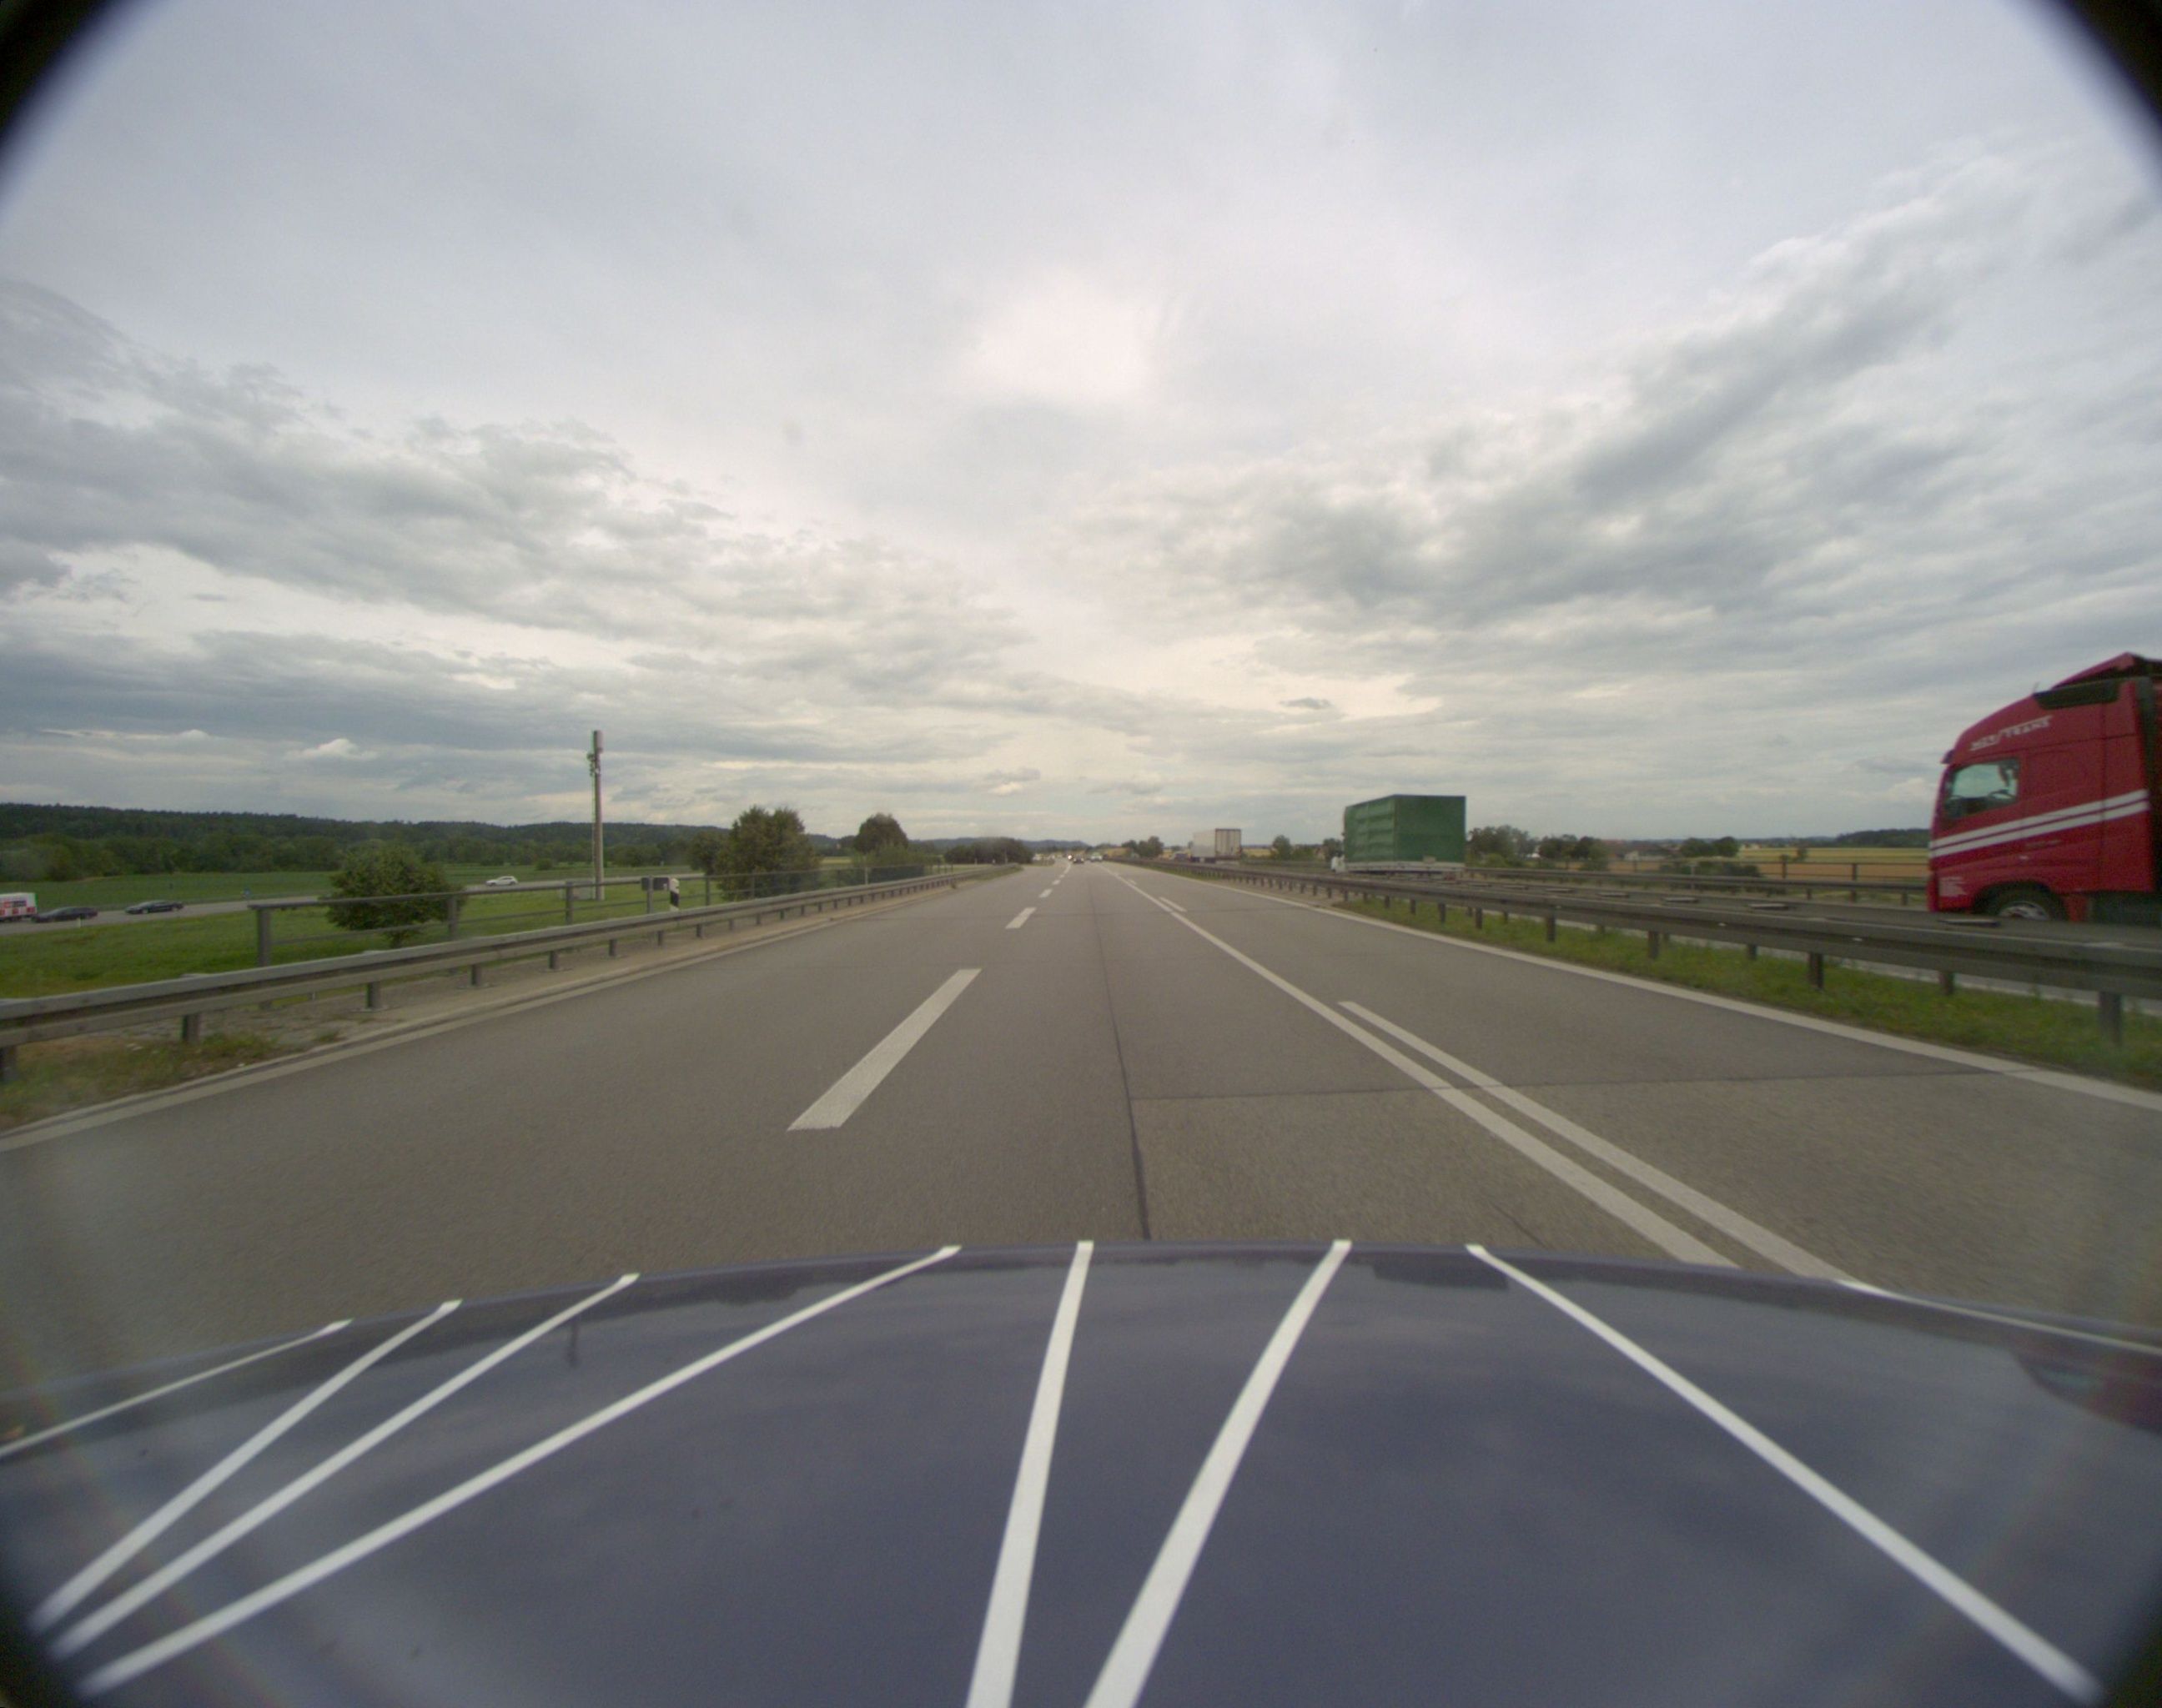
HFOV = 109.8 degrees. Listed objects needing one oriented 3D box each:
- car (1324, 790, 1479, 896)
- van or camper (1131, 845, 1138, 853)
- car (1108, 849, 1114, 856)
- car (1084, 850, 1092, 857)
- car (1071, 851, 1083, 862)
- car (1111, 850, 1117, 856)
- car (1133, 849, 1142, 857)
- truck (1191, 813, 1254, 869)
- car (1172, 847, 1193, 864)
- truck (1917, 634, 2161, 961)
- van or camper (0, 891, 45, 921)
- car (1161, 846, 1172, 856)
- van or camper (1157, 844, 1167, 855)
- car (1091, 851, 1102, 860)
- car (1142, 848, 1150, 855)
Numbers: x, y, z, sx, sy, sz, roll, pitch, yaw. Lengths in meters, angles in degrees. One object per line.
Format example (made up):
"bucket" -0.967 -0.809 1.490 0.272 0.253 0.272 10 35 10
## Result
"car" 11.234 -0.379 27.505 2.545 3.253 7.209 -2 1 1
"van or camper" 18.064 -1.736 257.146 1.850 2.567 4.000 -5 0 1
"car" 8.619 -0.474 218.727 1.850 1.766 4.000 -1 0 1
"car" 1.644 -0.157 174.946 1.850 1.655 4.000 0 0 1
"car" -0.601 0.406 122.861 1.850 1.850 4.000 0 0 1
"car" 11.077 -0.360 253.880 1.850 1.741 4.000 -5 0 1
"car" 13.435 -0.218 179.603 1.850 1.850 4.000 0 0 1
"truck" 15.349 -1.373 83.804 4.333 5.528 14.038 -2 1 1
"car" 11.152 0.130 83.471 1.850 1.850 4.000 0 0 1
"truck" 14.434 -0.718 8.636 2.917 3.924 6.324 -2 1 1
"van or camper" -118.243 5.850 81.833 2.798 2.891 7.133 -5 0 14
"car" 19.215 -0.642 169.943 1.998 2.002 3.999 -2 1 1
"van or camper" 20.216 -1.139 190.381 1.998 2.463 5.508 -2 1 1
"car" 2.776 0.267 136.627 1.850 1.665 4.200 0 0 3
"car" 18.541 -0.705 217.999 1.850 1.850 4.000 -3 0 1
